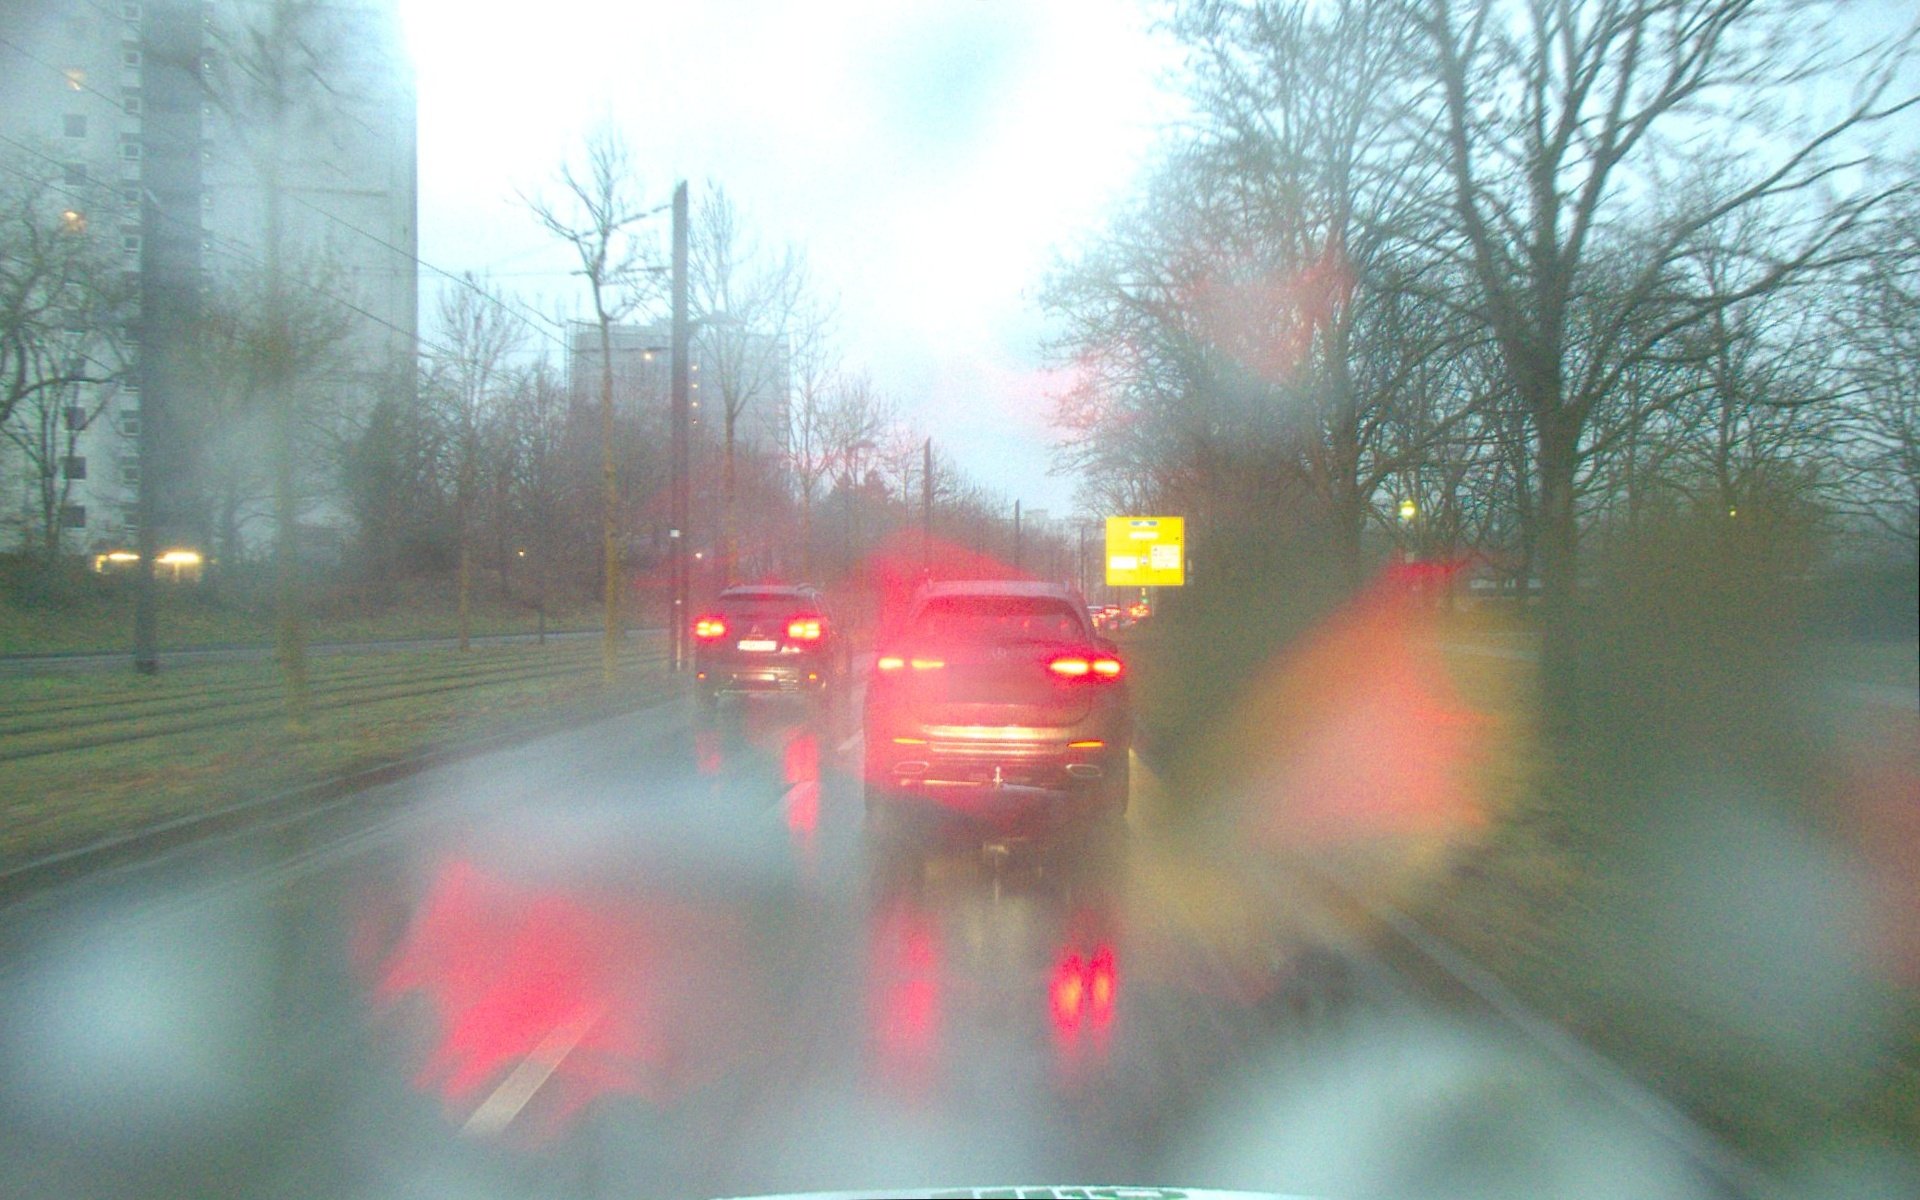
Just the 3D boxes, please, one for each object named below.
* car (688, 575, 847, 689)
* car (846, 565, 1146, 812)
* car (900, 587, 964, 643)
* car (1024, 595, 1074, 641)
[{"bbox_3d":[-2.660,0.413,23.721,1.842,1.485,3.999,0,0,-1],"label":"car"},{"bbox_3d":[0.168,0.578,12.888,1.958,1.612,3.998,1,0,-2],"label":"car"},{"bbox_3d":[-0.885,0.413,49.982,1.842,1.621,3.998,0,0,-2],"label":"car"},{"bbox_3d":[3.130,0.615,58.602,1.673,1.585,3.997,0,0,2],"label":"car"}]
